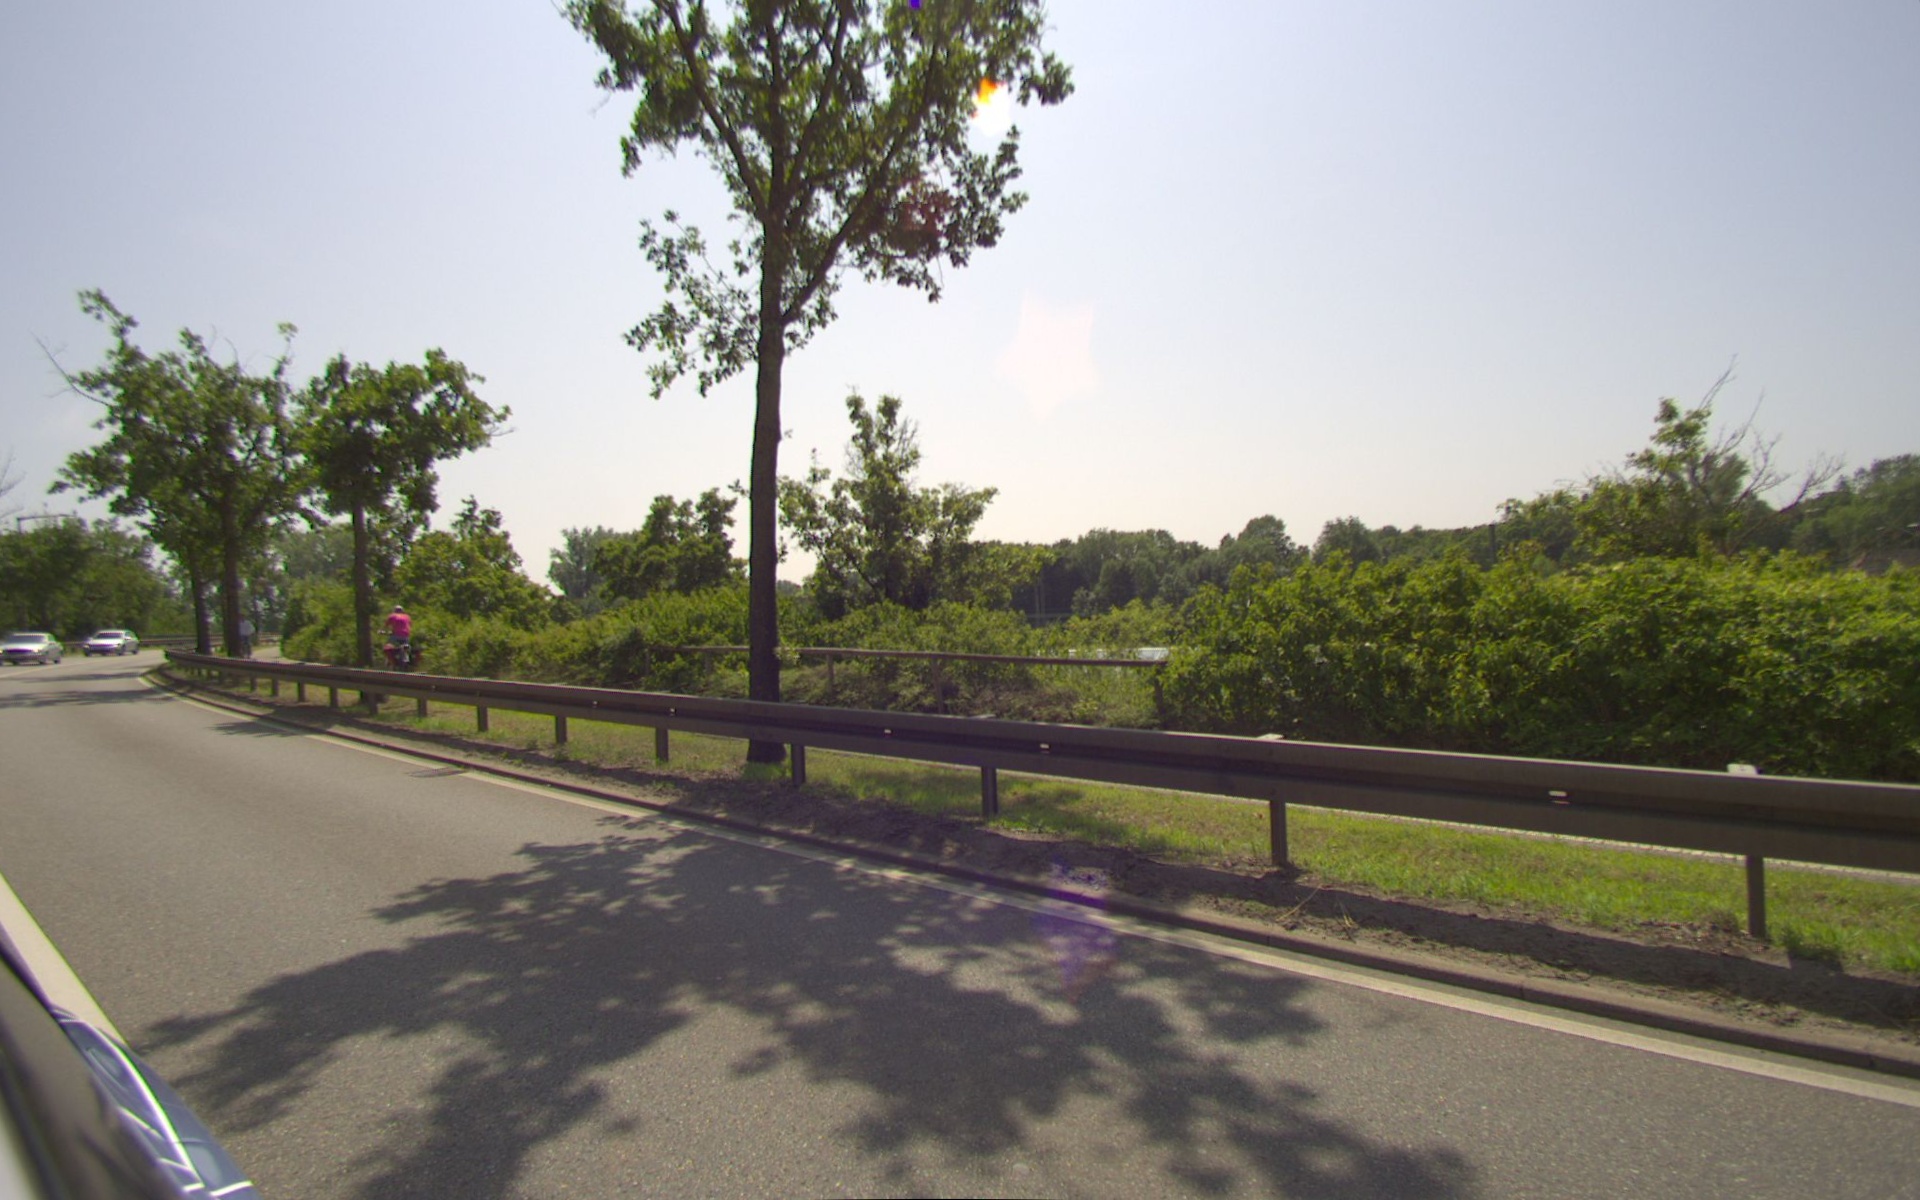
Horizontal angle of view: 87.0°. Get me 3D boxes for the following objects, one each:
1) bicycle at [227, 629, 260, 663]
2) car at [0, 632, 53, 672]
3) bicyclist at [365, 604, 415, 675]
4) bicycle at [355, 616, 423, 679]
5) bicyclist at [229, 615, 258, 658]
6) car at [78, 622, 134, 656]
[{"bbox_3d":[-24.678,1.564,34.839,0.725,1.125,2.049,2,-2,-40],"label":"bicycle"},{"bbox_3d":[-41.183,2.250,44.445,1.736,1.510,4.242,-2,1,-38],"label":"car"},{"bbox_3d":[-12.357,0.846,21.925,0.757,1.500,0.733,-2,0,44],"label":"bicyclist"},{"bbox_3d":[-12.431,1.007,22.000,2.047,1.291,0.726,-2,0,44],"label":"bicycle"},{"bbox_3d":[-24.653,1.254,34.826,0.720,1.477,0.825,2,-2,-40],"label":"bicyclist"},{"bbox_3d":[-49.601,2.242,58.848,1.769,1.796,4.306,-1,0,-30],"label":"car"}]
